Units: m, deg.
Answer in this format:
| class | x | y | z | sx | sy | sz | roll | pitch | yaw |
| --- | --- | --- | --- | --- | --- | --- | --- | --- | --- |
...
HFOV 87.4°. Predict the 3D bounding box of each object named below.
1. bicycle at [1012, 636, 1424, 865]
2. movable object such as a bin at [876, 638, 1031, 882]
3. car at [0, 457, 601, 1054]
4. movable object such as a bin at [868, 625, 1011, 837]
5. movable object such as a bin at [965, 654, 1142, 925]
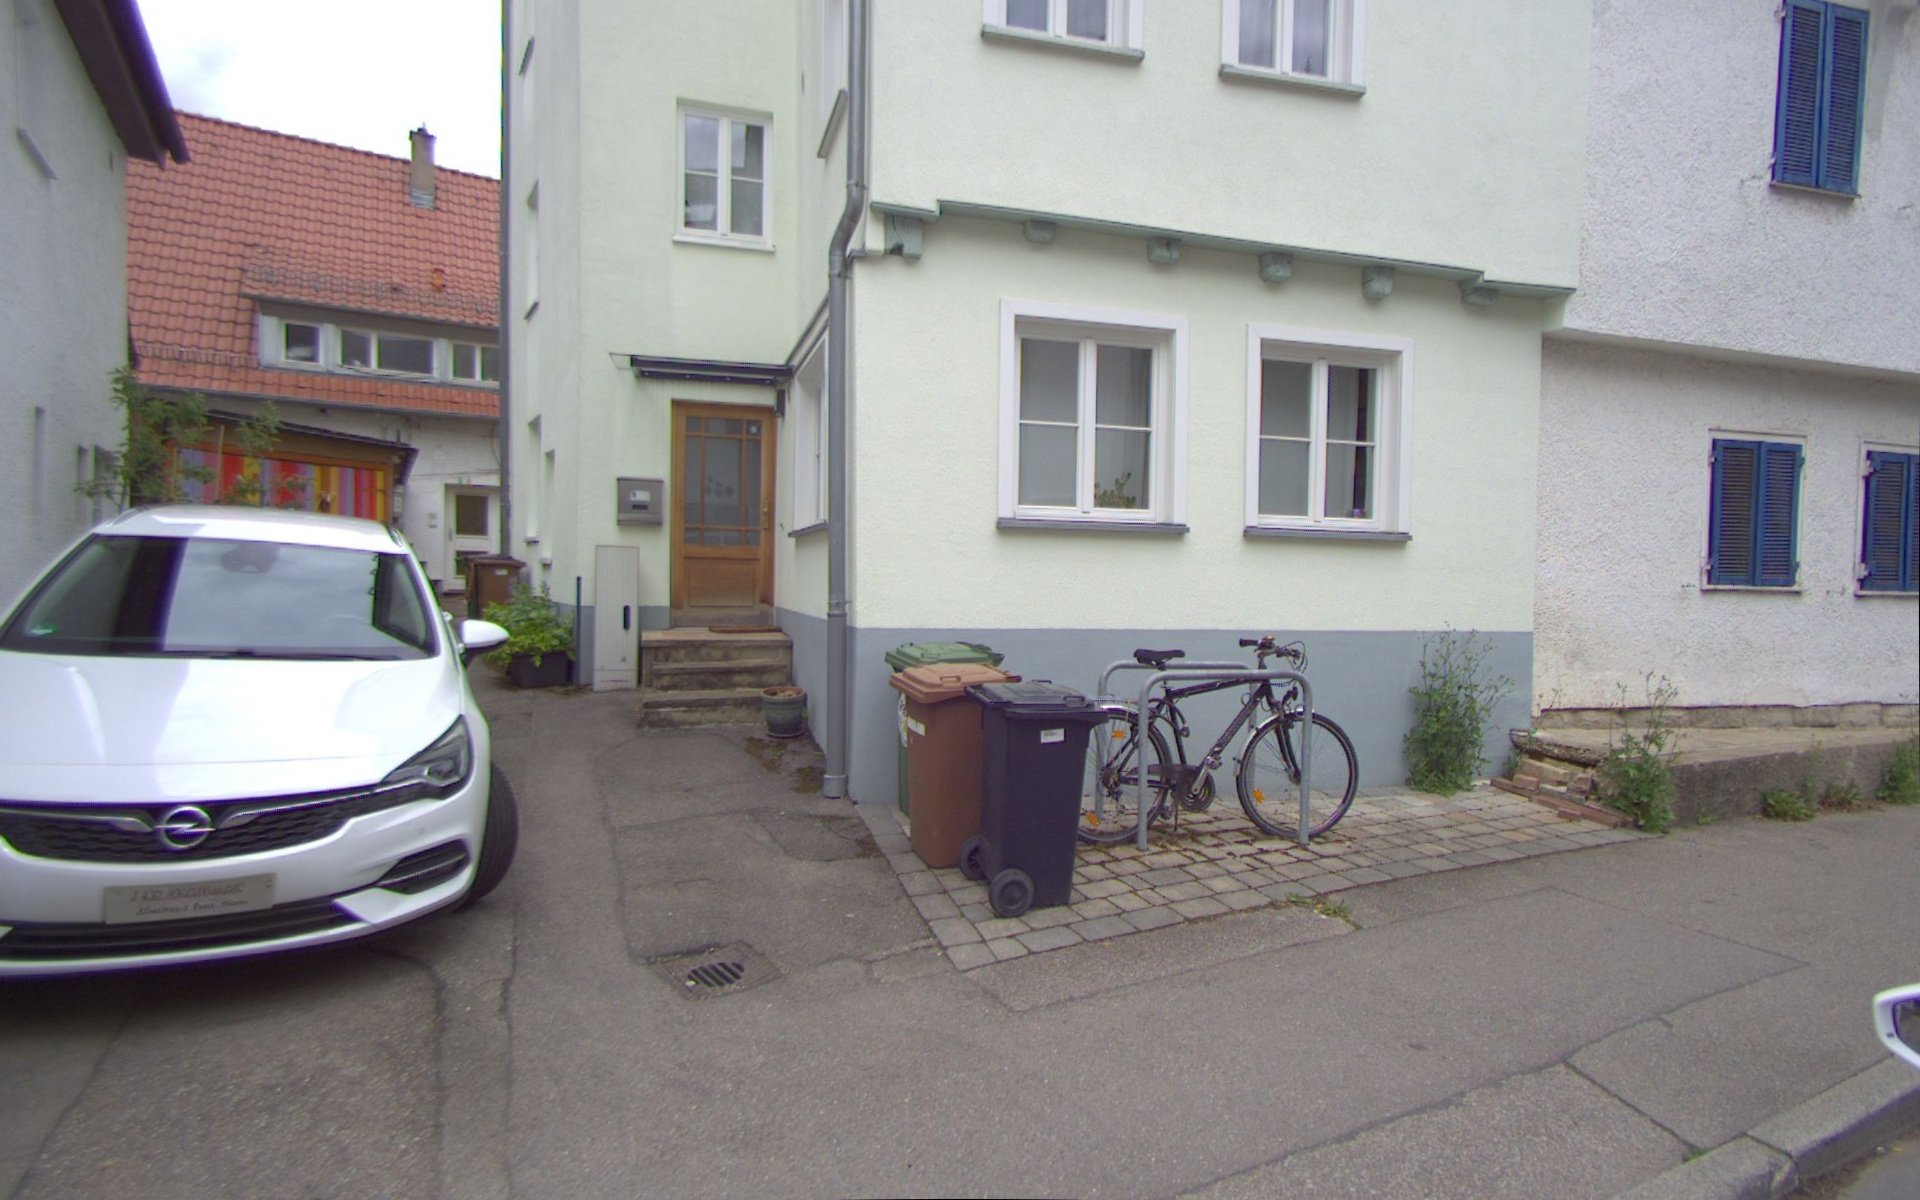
| class | x | y | z | sx | sy | sz | roll | pitch | yaw |
| --- | --- | --- | --- | --- | --- | --- | --- | --- | --- |
| bicycle | 1.339 | 0.746 | 5.232 | 2.056 | 1.053 | 0.442 | 1 | 5 | -13 |
| movable object such as a bin | -0.048 | 0.734 | 4.834 | 0.590 | 1.014 | 0.568 | -1 | 7 | -18 |
| car | -3.268 | 0.221 | 4.770 | 1.957 | 1.520 | 4.511 | 4 | 4 | -32 |
| movable object such as a bin | -0.129 | 0.679 | 5.439 | 0.612 | 1.014 | 0.555 | 0 | 7 | -17 |
| movable object such as a bin | 0.387 | 0.788 | 4.386 | 0.577 | 1.014 | 0.553 | -1 | 7 | -16 |
